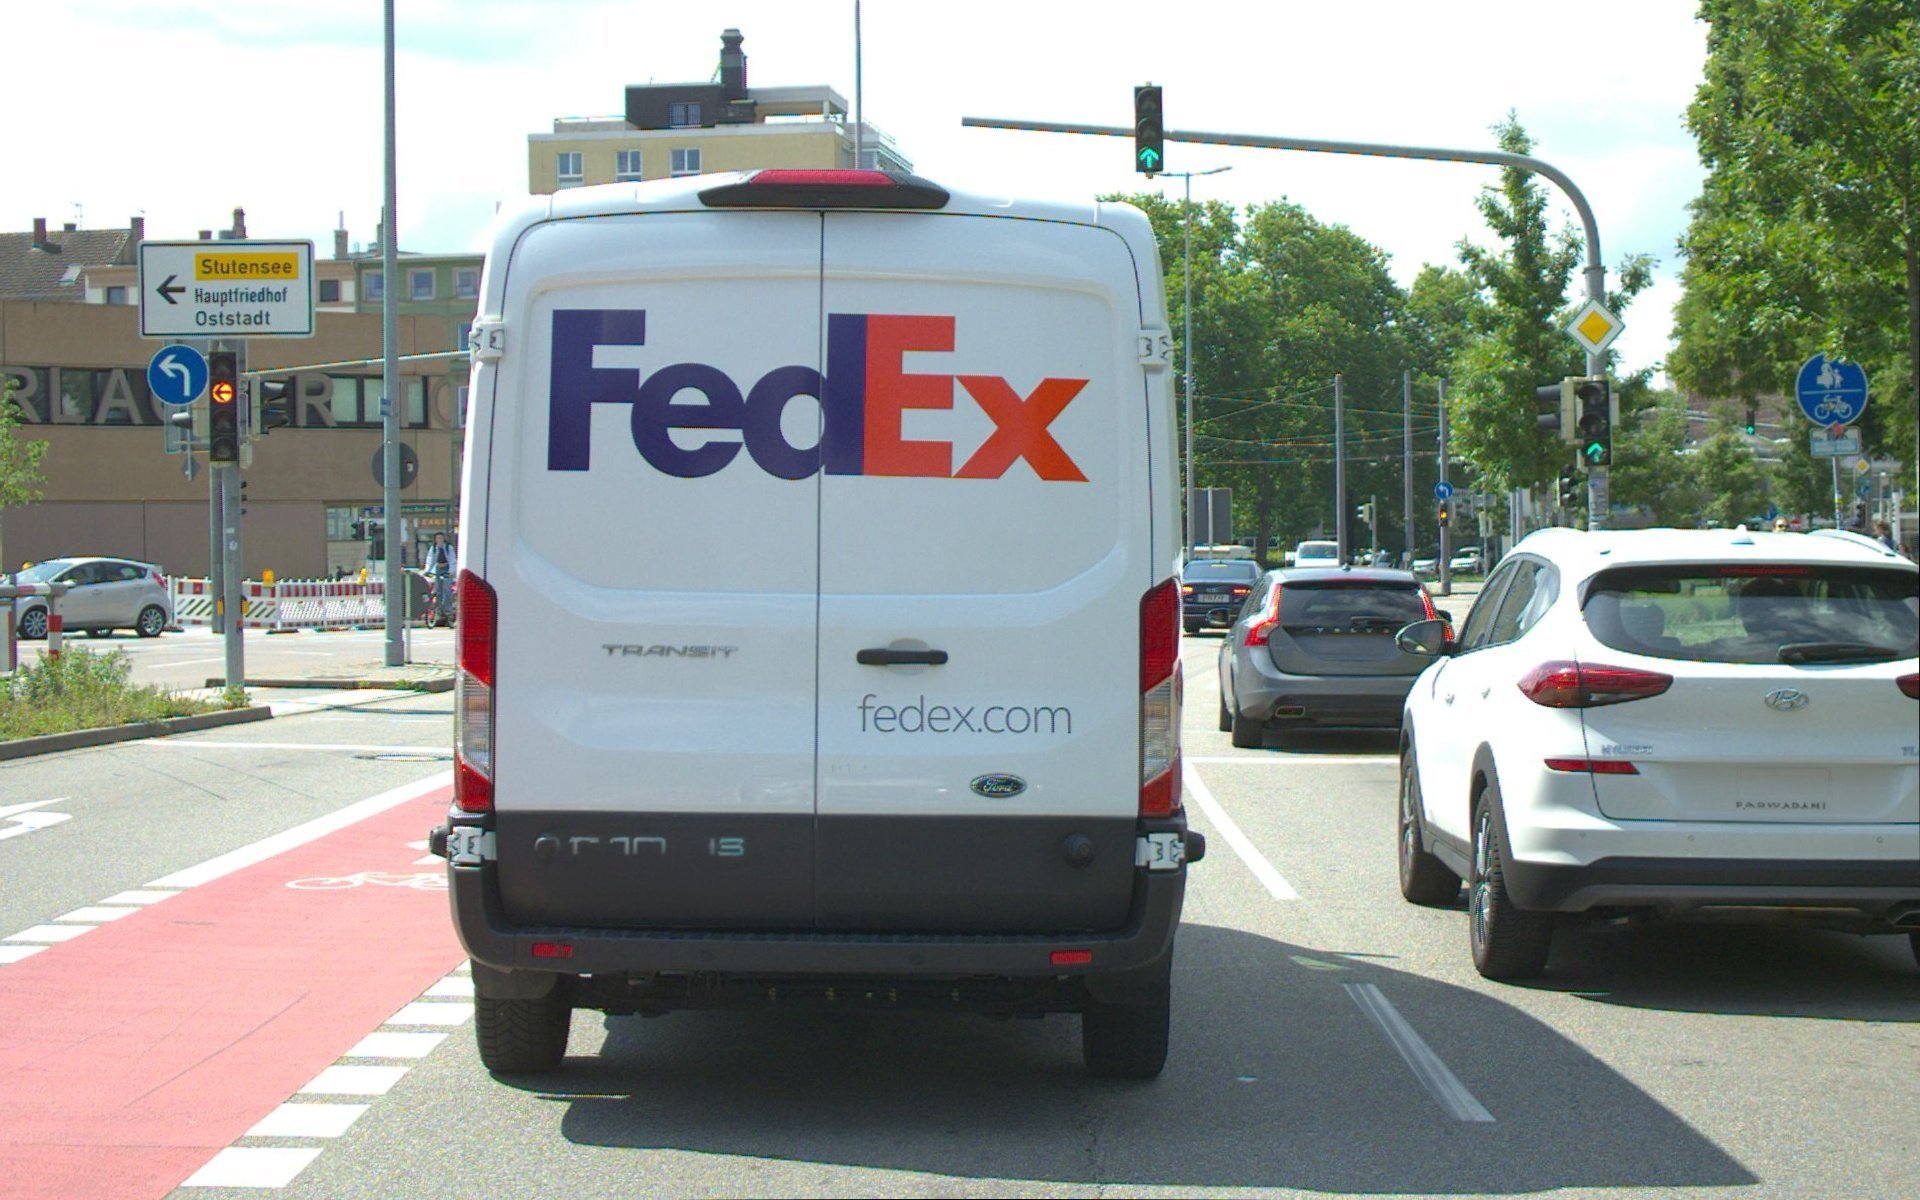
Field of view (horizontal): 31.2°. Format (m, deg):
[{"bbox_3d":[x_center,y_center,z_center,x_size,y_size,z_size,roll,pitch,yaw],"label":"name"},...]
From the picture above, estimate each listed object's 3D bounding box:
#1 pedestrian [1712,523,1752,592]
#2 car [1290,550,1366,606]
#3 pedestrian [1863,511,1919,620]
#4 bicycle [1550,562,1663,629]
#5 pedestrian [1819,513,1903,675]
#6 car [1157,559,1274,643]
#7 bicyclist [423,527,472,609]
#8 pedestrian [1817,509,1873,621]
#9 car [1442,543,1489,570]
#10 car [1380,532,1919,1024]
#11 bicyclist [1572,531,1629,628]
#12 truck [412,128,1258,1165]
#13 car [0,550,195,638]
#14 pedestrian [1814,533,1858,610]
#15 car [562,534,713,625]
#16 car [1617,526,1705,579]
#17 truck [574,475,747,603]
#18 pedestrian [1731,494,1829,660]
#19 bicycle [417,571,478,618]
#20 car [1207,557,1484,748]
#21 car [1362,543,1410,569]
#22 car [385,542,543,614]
[{"bbox_3d":[17.962,-0.984,80.014,0.756,1.584,0.761,1,0,2],"label":"pedestrian"},{"bbox_3d":[13.465,-0.797,125.639,1.995,2.007,4.119,1,0,17],"label":"car"},{"bbox_3d":[15.204,-0.566,56.135,0.750,1.746,0.609,-2,1,7],"label":"pedestrian"},{"bbox_3d":[11.013,-0.070,58.600,1.810,1.046,0.591,-3,-1,7],"label":"bicycle"},{"bbox_3d":[9.929,-0.071,37.891,0.666,1.740,0.609,-2,1,-6],"label":"pedestrian"},{"bbox_3d":[4.907,-0.009,65.648,1.882,1.501,4.154,1,1,9],"label":"car"},{"bbox_3d":[-10.128,-0.635,67.931,0.776,1.613,0.843,-1,1,3],"label":"bicyclist"},{"bbox_3d":[14.396,-0.573,55.941,0.750,1.796,0.609,-2,1,7],"label":"pedestrian"},{"bbox_3d":[31.379,-2.697,213.325,1.996,1.568,4.173,1,0,21],"label":"car"},{"bbox_3d":[2.820,0.556,13.619,1.881,1.636,4.233,-1,1,1],"label":"car"},{"bbox_3d":[10.919,-0.343,58.613,0.828,1.596,0.579,-3,-1,7],"label":"bicyclist"},{"bbox_3d":[-0.352,0.089,11.739,2.137,2.631,5.917,1,1,-1],"label":"truck"},{"bbox_3d":[-15.879,-0.099,61.171,1.998,1.503,4.007,1,0,42],"label":"car"},{"bbox_3d":[21.337,-0.694,83.741,0.756,1.815,0.780,-4,0,2],"label":"pedestrian"},{"bbox_3d":[-5.937,-0.407,63.688,1.882,1.618,4.154,1,1,8],"label":"car"},{"bbox_3d":[22.294,-1.531,109.229,1.883,1.636,3.952,0,1,25],"label":"car"},{"bbox_3d":[-7.429,-1.467,86.186,1.995,3.057,7.325,1,0,14],"label":"truck"},{"bbox_3d":[8.999,-0.256,37.751,0.749,1.771,0.882,-2,1,-6],"label":"pedestrian"},{"bbox_3d":[-10.119,-0.117,67.944,0.776,0.886,2.108,-1,1,3],"label":"bicycle"},{"bbox_3d":[3.088,0.378,28.223,1.915,1.415,3.918,-1,1,1],"label":"car"},{"bbox_3d":[26.696,-2.765,215.549,1.996,1.568,4.173,1,0,21],"label":"car"},{"bbox_3d":[-10.826,-0.497,75.284,1.995,1.481,3.903,-1,1,15],"label":"car"}]
